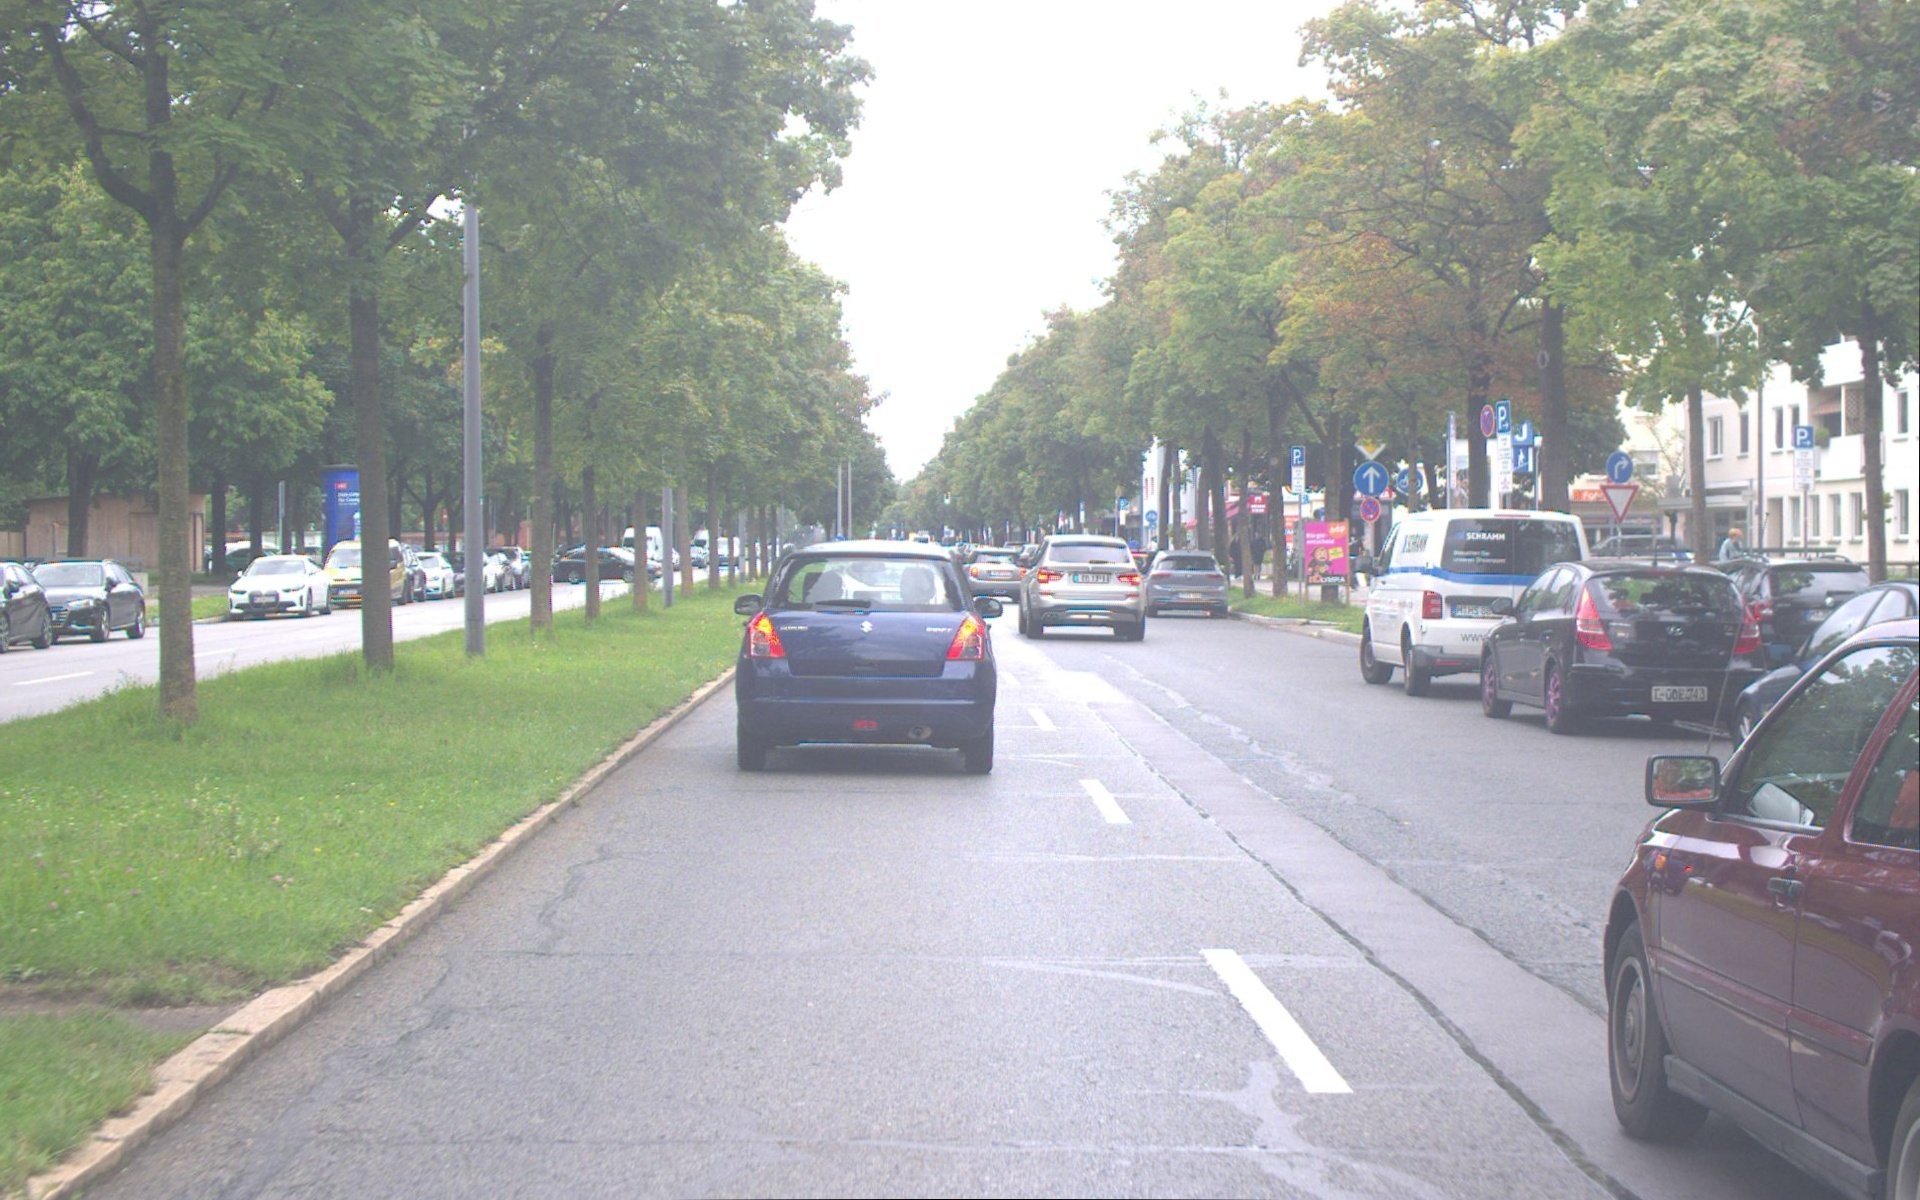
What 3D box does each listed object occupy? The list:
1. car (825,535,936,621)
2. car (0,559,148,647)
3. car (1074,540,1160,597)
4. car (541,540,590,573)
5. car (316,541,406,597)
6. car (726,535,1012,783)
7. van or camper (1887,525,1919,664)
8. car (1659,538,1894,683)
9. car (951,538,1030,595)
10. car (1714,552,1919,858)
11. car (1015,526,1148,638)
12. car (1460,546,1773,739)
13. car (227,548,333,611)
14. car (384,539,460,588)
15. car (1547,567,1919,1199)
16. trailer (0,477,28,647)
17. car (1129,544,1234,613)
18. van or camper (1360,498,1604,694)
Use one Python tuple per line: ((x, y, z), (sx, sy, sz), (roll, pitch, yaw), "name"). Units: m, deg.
((-1.416, -0.408, 59.853), (1.850, 1.442, 4.098), (0, 1, -2), "car")
((-15.499, 0.031, 59.957), (1.850, 1.442, 4.098), (0, 1, -2), "car")
((4.028, -0.825, 88.677), (1.850, 1.442, 4.098), (0, 1, -2), "car")
((-17.505, -1.936, 152.796), (1.850, 1.442, 4.098), (0, 1, -2), "car")
((-15.996, -0.853, 91.924), (1.850, 1.442, 4.098), (0, 1, -2), "car")
((-0.649, 0.331, 23.494), (1.789, 1.550, 4.001), (0, 1, -2), "car")
((14.605, -0.071, 48.391), (1.944, 1.968, 4.306), (0, 1, 0), "van or camper")
((9.366, 0.082, 39.727), (1.684, 1.580, 4.028), (0, 1, -1), "car")
((0.770, -0.878, 89.369), (1.850, 1.442, 4.098), (0, 1, -2), "car")
((5.652, 0.511, 19.771), (1.684, 1.548, 4.306), (0, 1, 0), "car")
((1.921, -0.320, 55.473), (1.850, 1.737, 4.098), (0, 1, -2), "car")
((5.653, 0.313, 30.106), (1.684, 1.548, 4.307), (0, 1, -3), "car")
((-16.026, -0.504, 81.179), (1.850, 1.442, 4.098), (0, 1, -2), "car")
((-16.477, -1.131, 105.383), (1.850, 1.442, 4.098), (0, 1, -2), "car")
((2.460, 0.673, 7.421), (1.622, 1.449, 3.950), (0, 1, -1), "car")
((-15.389, -0.541, 50.155), (2.106, 2.531, 5.577), (0, 1, 0), "trailer")
((4.793, -0.492, 74.836), (1.850, 1.442, 4.098), (0, 1, -2), "car")
((5.491, -0.079, 36.659), (1.944, 1.968, 4.306), (0, 1, 0), "van or camper")
